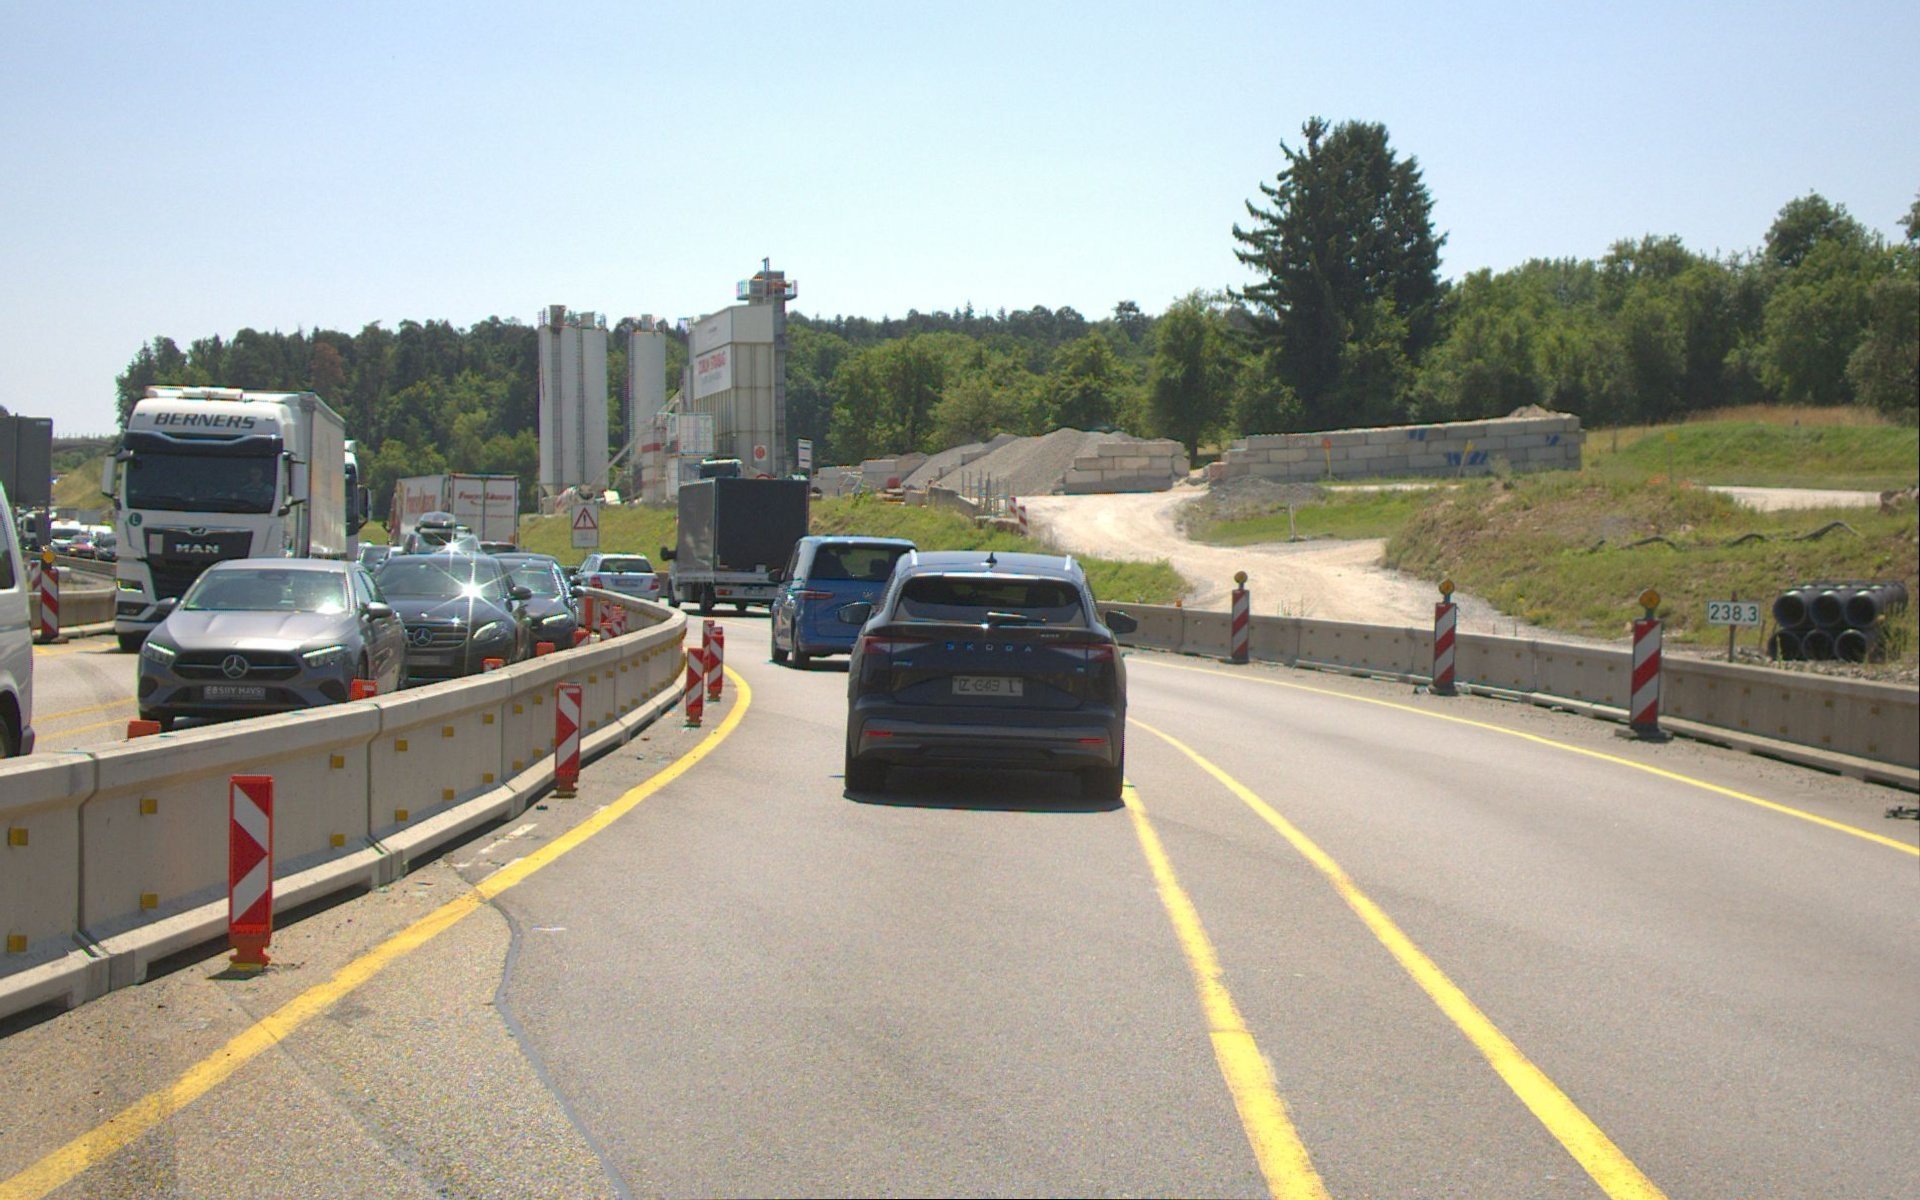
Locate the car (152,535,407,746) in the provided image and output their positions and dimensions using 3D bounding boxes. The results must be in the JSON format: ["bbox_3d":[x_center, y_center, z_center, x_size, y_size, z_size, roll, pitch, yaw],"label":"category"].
[{"bbox_3d":[-5.724,0.286,29.303,1.509,1.598,3.954,2,1,-3],"label":"car"}]

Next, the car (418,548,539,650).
[{"bbox_3d":[-7.384,-0.046,52.425,1.677,1.439,4.555,1,1,-10],"label":"car"}]

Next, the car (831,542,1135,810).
[{"bbox_3d":[0.100,0.442,23.501,1.842,1.576,4.000,2,1,-1],"label":"car"}]

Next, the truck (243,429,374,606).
[{"bbox_3d":[-15.286,-1.922,80.374,2.699,3.956,6.201,0,1,-14],"label":"truck"}]

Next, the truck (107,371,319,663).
[{"bbox_3d":[-11.479,-1.278,53.279,2.770,4.245,6.201,0,1,-8],"label":"truck"}]

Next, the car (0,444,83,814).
[{"bbox_3d":[-5.775,0.138,16.160,1.872,1.866,5.058,2,1,1],"label":"car"}]

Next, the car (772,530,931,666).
[{"bbox_3d":[-1.615,-0.068,49.666,1.993,1.837,4.001,0,2,-6],"label":"car"}]

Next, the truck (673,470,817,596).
[{"bbox_3d":[-5.329,-1.659,84.355,2.672,2.935,5.622,-1,1,-12],"label":"truck"}]

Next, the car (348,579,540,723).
[{"bbox_3d":[-5.587,0.517,37.621,1.725,1.403,4.130,1,1,-4],"label":"car"}]

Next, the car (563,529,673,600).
[{"bbox_3d":[-8.181,-0.874,81.935,2.045,1.521,5.068,-2,2,-12],"label":"car"}]

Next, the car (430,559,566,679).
[{"bbox_3d":[-6.098,0.217,45.702,1.655,1.448,4.249,1,1,-6],"label":"car"}]

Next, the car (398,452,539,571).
[{"bbox_3d":[-18.450,-3.334,128.520,3.435,4.087,9.200,3,1,-18],"label":"car"}]
